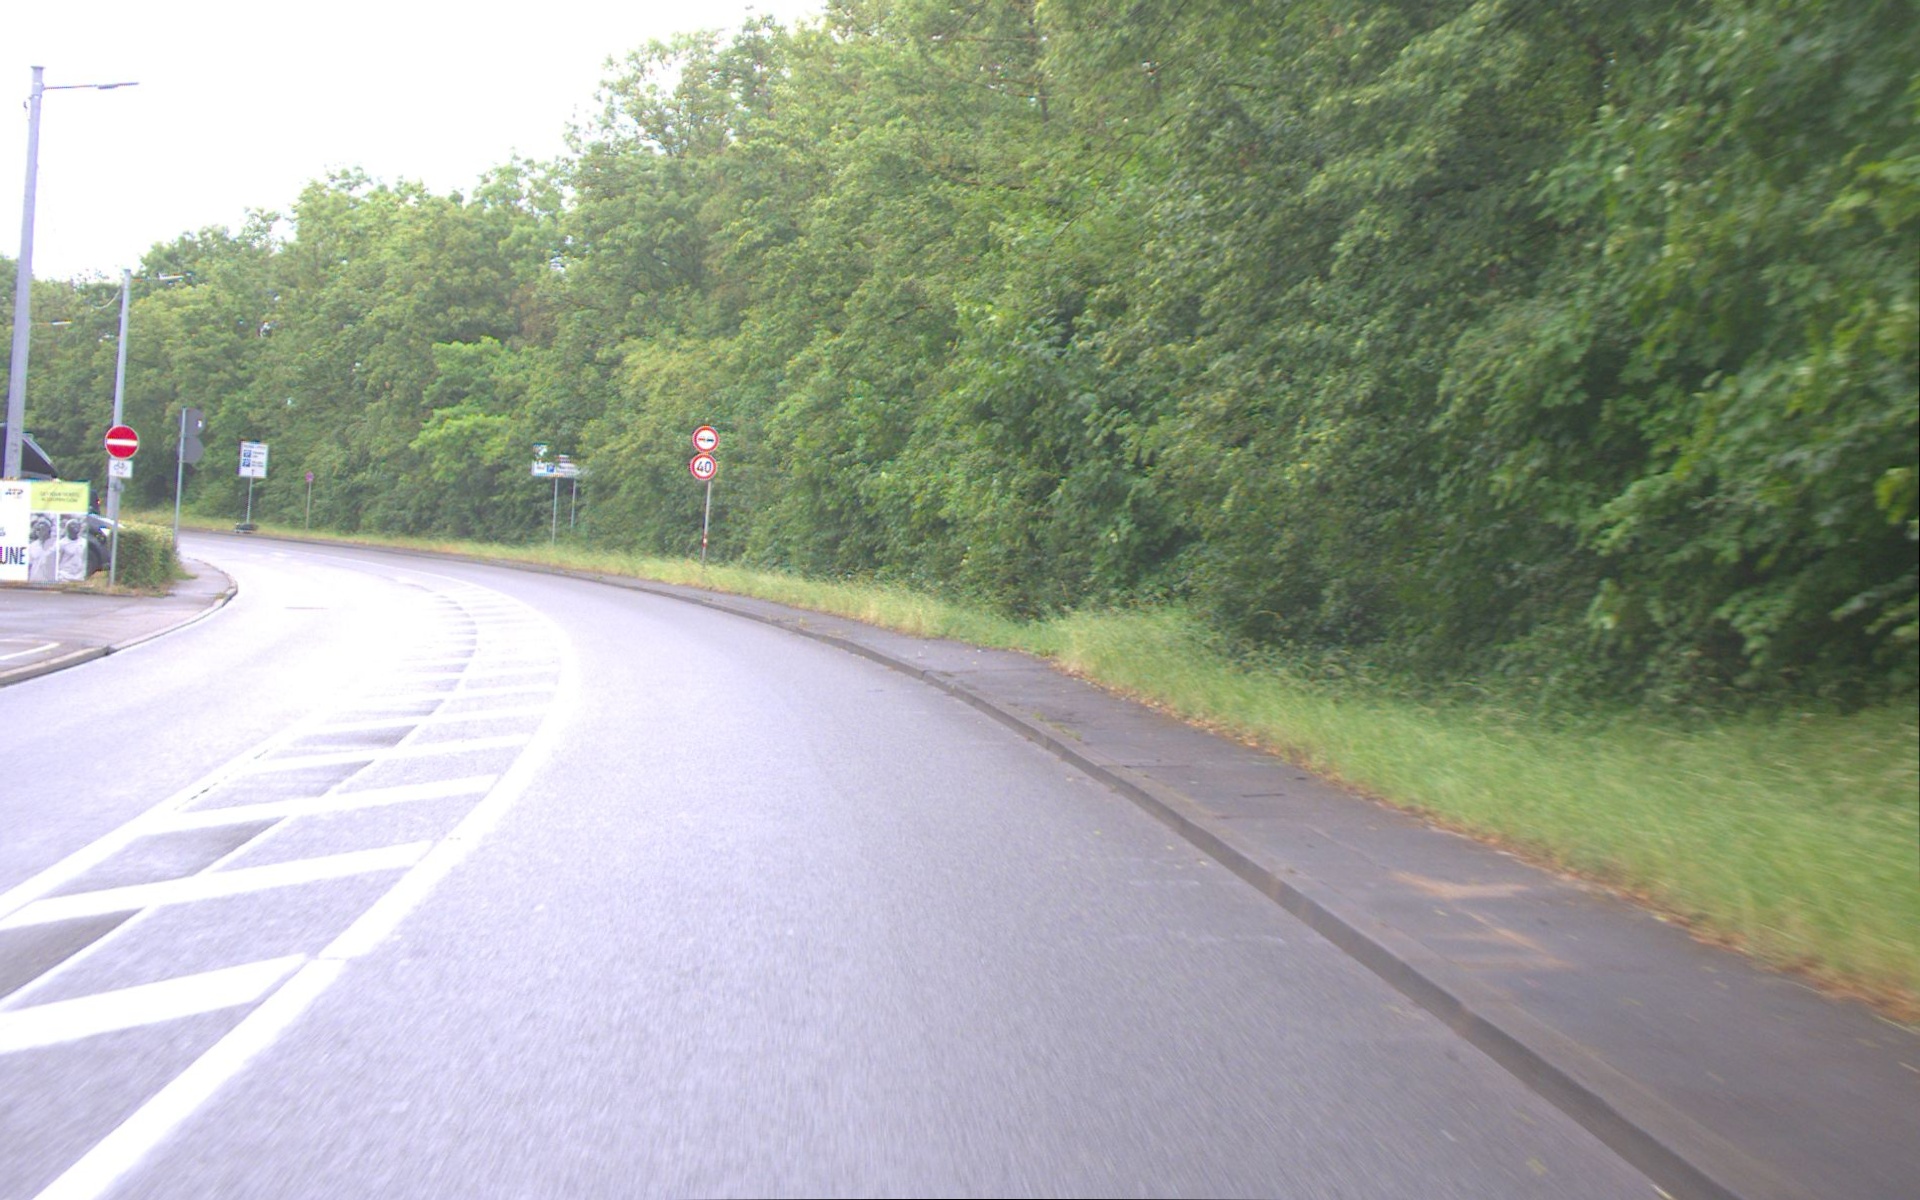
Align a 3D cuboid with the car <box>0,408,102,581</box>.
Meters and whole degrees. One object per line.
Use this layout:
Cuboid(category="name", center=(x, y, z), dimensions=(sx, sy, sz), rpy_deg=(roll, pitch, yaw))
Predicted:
Cuboid(category="car", center=(-20.792, -2.201, 70.735), dimensions=(5.945, 3.490, 2.001), rpy_deg=(1, 1, -16))
